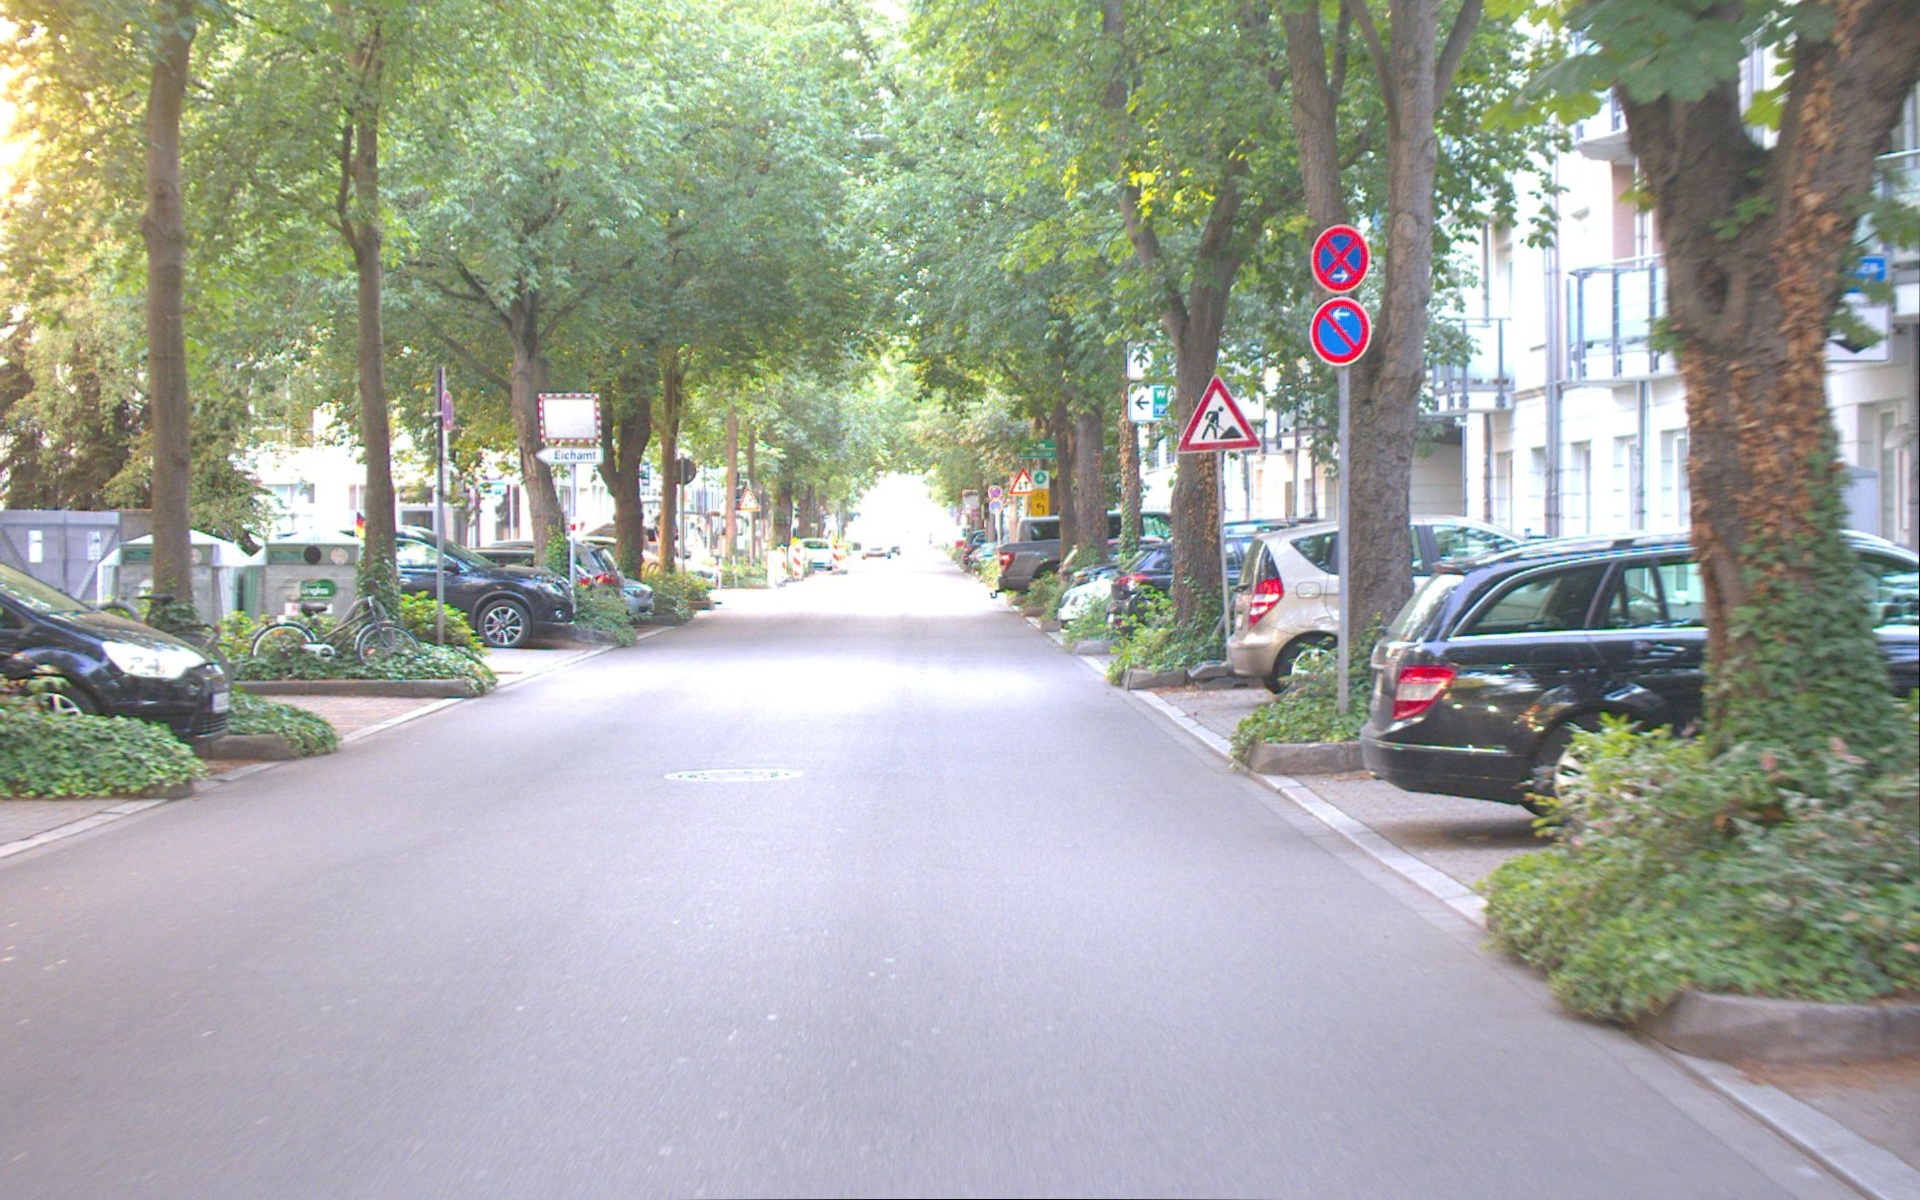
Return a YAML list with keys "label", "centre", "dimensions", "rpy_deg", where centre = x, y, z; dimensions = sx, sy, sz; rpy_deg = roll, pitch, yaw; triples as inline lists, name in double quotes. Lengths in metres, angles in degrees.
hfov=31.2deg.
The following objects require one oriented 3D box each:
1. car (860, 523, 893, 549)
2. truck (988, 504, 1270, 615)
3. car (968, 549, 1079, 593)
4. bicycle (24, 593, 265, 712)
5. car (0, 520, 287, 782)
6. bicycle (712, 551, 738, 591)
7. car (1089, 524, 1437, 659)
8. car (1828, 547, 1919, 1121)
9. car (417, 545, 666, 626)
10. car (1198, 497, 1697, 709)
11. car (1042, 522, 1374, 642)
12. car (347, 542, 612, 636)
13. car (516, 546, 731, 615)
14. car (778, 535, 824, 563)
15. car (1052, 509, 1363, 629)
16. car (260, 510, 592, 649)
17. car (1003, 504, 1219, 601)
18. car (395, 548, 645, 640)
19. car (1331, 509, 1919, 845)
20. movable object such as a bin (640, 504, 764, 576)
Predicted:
- label: "car"
  centre: [-5.135, -3.921, 210.585]
  dimensions: [2.009, 1.607, 4.120]
  rpy_deg: [0, 1, -2]
- label: "truck"
  centre: [3.559, -0.865, 73.295]
  dimensions: [5.887, 2.303, 2.212]
  rpy_deg: [0, 1, 0]
- label: "car"
  centre: [2.317, -1.062, 124.706]
  dimensions: [3.987, 1.579, 2.000]
  rpy_deg: [0, 1, 1]
- label: "bicycle"
  centre: [-5.791, 0.367, 24.452]
  dimensions: [1.553, 0.828, 0.613]
  rpy_deg: [0, 1, 3]
- label: "car"
  centre: [-7.008, 0.303, 22.317]
  dimensions: [4.852, 1.616, 2.160]
  rpy_deg: [0, 1, 0]
- label: "bicycle"
  centre: [-6.940, -0.866, 101.382]
  dimensions: [0.683, 1.148, 1.981]
  rpy_deg: [-1, 1, -6]
- label: "car"
  centre: [3.846, -0.121, 44.063]
  dimensions: [4.082, 1.446, 1.935]
  rpy_deg: [-4, 1, -6]
- label: "car"
  centre: [4.629, 0.460, 7.969]
  dimensions: [4.678, 1.383, 2.000]
  rpy_deg: [-3, 1, 1]
- label: "car"
  centre: [-7.533, -0.268, 62.176]
  dimensions: [4.287, 1.425, 1.879]
  rpy_deg: [0, 1, -1]
- label: "car"
  centre: [4.177, 0.012, 29.929]
  dimensions: [3.969, 1.580, 1.916]
  rpy_deg: [-3, 1, -1]
- label: "car"
  centre: [3.573, -0.267, 50.084]
  dimensions: [4.599, 1.463, 1.796]
  rpy_deg: [-3, 1, -1]
- label: "car"
  centre: [-7.575, -0.191, 54.500]
  dimensions: [3.986, 1.459, 1.922]
  rpy_deg: [0, 1, -2]
- label: "car"
  centre: [-7.609, -0.452, 78.054]
  dimensions: [4.619, 1.547, 2.075]
  rpy_deg: [0, 1, 2]
- label: "car"
  centre: [-7.439, -2.390, 160.837]
  dimensions: [1.993, 1.284, 4.001]
  rpy_deg: [0, 1, -5]
- label: "car"
  centre: [3.944, -0.507, 55.257]
  dimensions: [4.641, 1.612, 2.010]
  rpy_deg: [-4, 1, -4]
- label: "car"
  centre: [-7.603, -0.305, 49.276]
  dimensions: [4.504, 1.948, 2.000]
  rpy_deg: [0, 1, -2]
- label: "car"
  centre: [3.308, -1.065, 76.034]
  dimensions: [4.600, 2.059, 2.198]
  rpy_deg: [-1, 1, -2]
- label: "car"
  centre: [-7.588, -0.115, 59.549]
  dimensions: [3.987, 1.560, 1.929]
  rpy_deg: [0, 1, 5]
- label: "car"
  centre: [4.130, 0.296, 16.816]
  dimensions: [4.459, 1.422, 2.011]
  rpy_deg: [-3, 1, 4]
- label: "movable object such as a bin"
  centre: [-8.723, -2.031, 115.890]
  dimensions: [4.045, 2.375, 2.785]
  rpy_deg: [-1, 1, -6]
